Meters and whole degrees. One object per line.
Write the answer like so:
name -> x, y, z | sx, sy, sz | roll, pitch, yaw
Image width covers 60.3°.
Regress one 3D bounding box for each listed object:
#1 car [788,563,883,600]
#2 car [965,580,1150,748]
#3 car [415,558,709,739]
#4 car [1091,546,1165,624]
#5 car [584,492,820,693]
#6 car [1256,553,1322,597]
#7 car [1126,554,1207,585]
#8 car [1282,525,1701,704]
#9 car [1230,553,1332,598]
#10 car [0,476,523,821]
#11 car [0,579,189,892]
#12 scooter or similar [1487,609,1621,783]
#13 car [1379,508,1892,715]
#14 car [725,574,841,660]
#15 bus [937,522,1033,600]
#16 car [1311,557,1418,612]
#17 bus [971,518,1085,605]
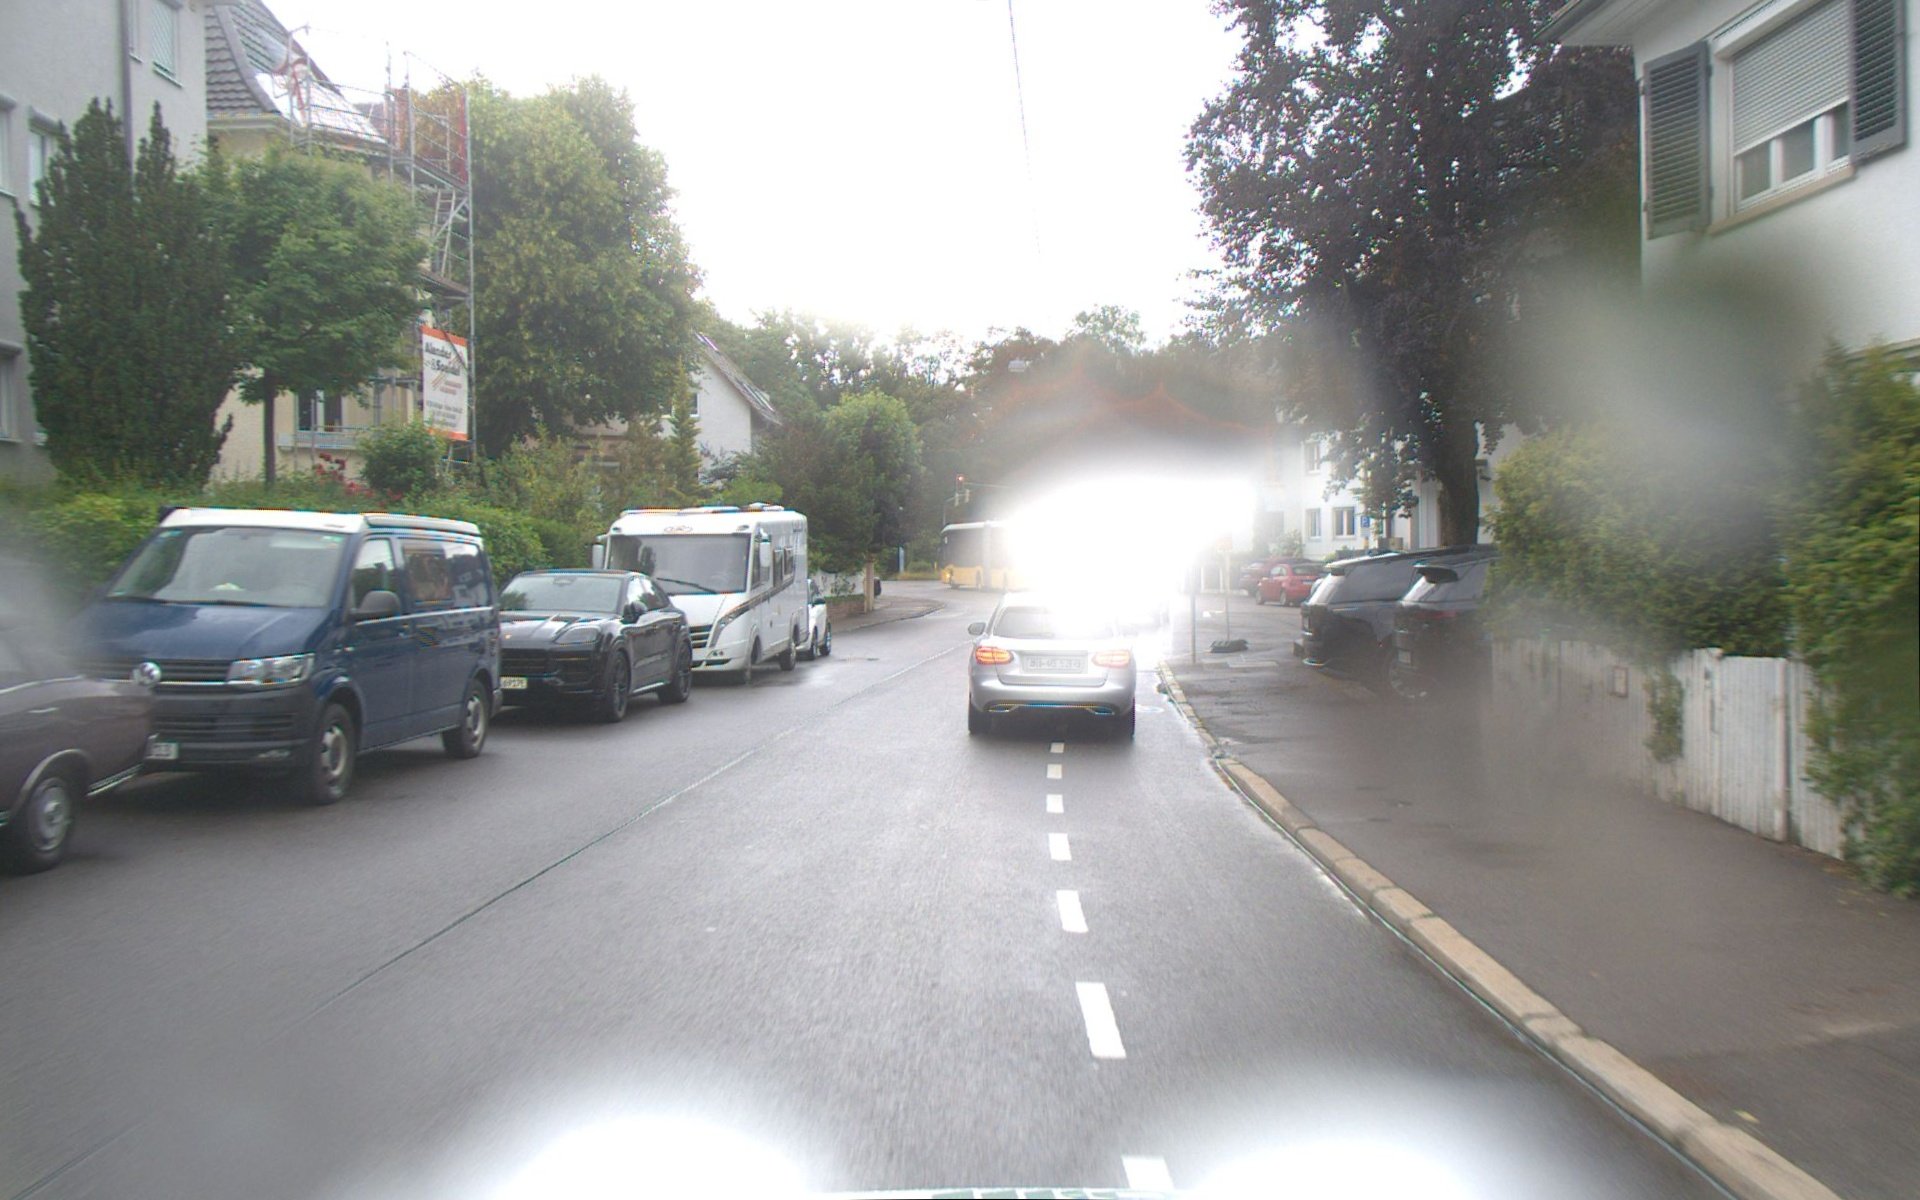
car -> -5.243, -0.807, 69.787 | 3.909, 1.444, 1.886 | 1, 3, -5
car -> 1.128, 0.599, 18.107 | 1.778, 1.583, 4.003 | 1, 1, 5
car -> -4.430, 0.436, 19.223 | 1.951, 1.717, 4.680 | 1, 3, 4
car -> 4.352, -0.377, 43.250 | 1.804, 1.937, 4.002 | 1, 0, 4
car -> -3.954, -0.224, 26.770 | 2.340, 2.820, 6.536 | 1, 2, 4
car -> 11.995, -0.932, 60.422 | 1.185, 1.476, 3.012 | 0, 3, -14
car -> 10.886, -1.606, 87.259 | 3.919, 1.557, 1.753 | 0, 3, -14
car -> 6.531, 0.158, 20.738 | 4.566, 1.907, 2.001 | -3, 1, 1
car -> 13.763, -1.045, 71.024 | 3.909, 1.824, 1.757 | 1, 2, -6
car -> -4.976, 0.287, 12.686 | 1.791, 2.092, 5.010 | 1, 0, 1
car -> -5.271, 0.639, 7.354 | 1.610, 1.442, 4.611 | 1, 1, -2
scooter or similar -> 4.496, 0.684, 12.623 | 0.446, 1.221, 1.867 | 1, 0, 4
car -> 6.992, 0.101, 17.520 | 4.566, 1.844, 2.001 | -3, 1, 1
car -> -3.410, 0.289, 32.398 | 1.676, 1.472, 3.257 | 1, 3, 4
bus -> 1.145, -2.136, 85.581 | 2.876, 3.714, 10.276 | 0, 3, -11
car -> 13.427, -0.542, 55.178 | 1.776, 1.636, 4.050 | 0, 3, -14
bus -> 2.978, -1.913, 76.551 | 2.876, 3.714, 10.142 | 0, 3, -11
